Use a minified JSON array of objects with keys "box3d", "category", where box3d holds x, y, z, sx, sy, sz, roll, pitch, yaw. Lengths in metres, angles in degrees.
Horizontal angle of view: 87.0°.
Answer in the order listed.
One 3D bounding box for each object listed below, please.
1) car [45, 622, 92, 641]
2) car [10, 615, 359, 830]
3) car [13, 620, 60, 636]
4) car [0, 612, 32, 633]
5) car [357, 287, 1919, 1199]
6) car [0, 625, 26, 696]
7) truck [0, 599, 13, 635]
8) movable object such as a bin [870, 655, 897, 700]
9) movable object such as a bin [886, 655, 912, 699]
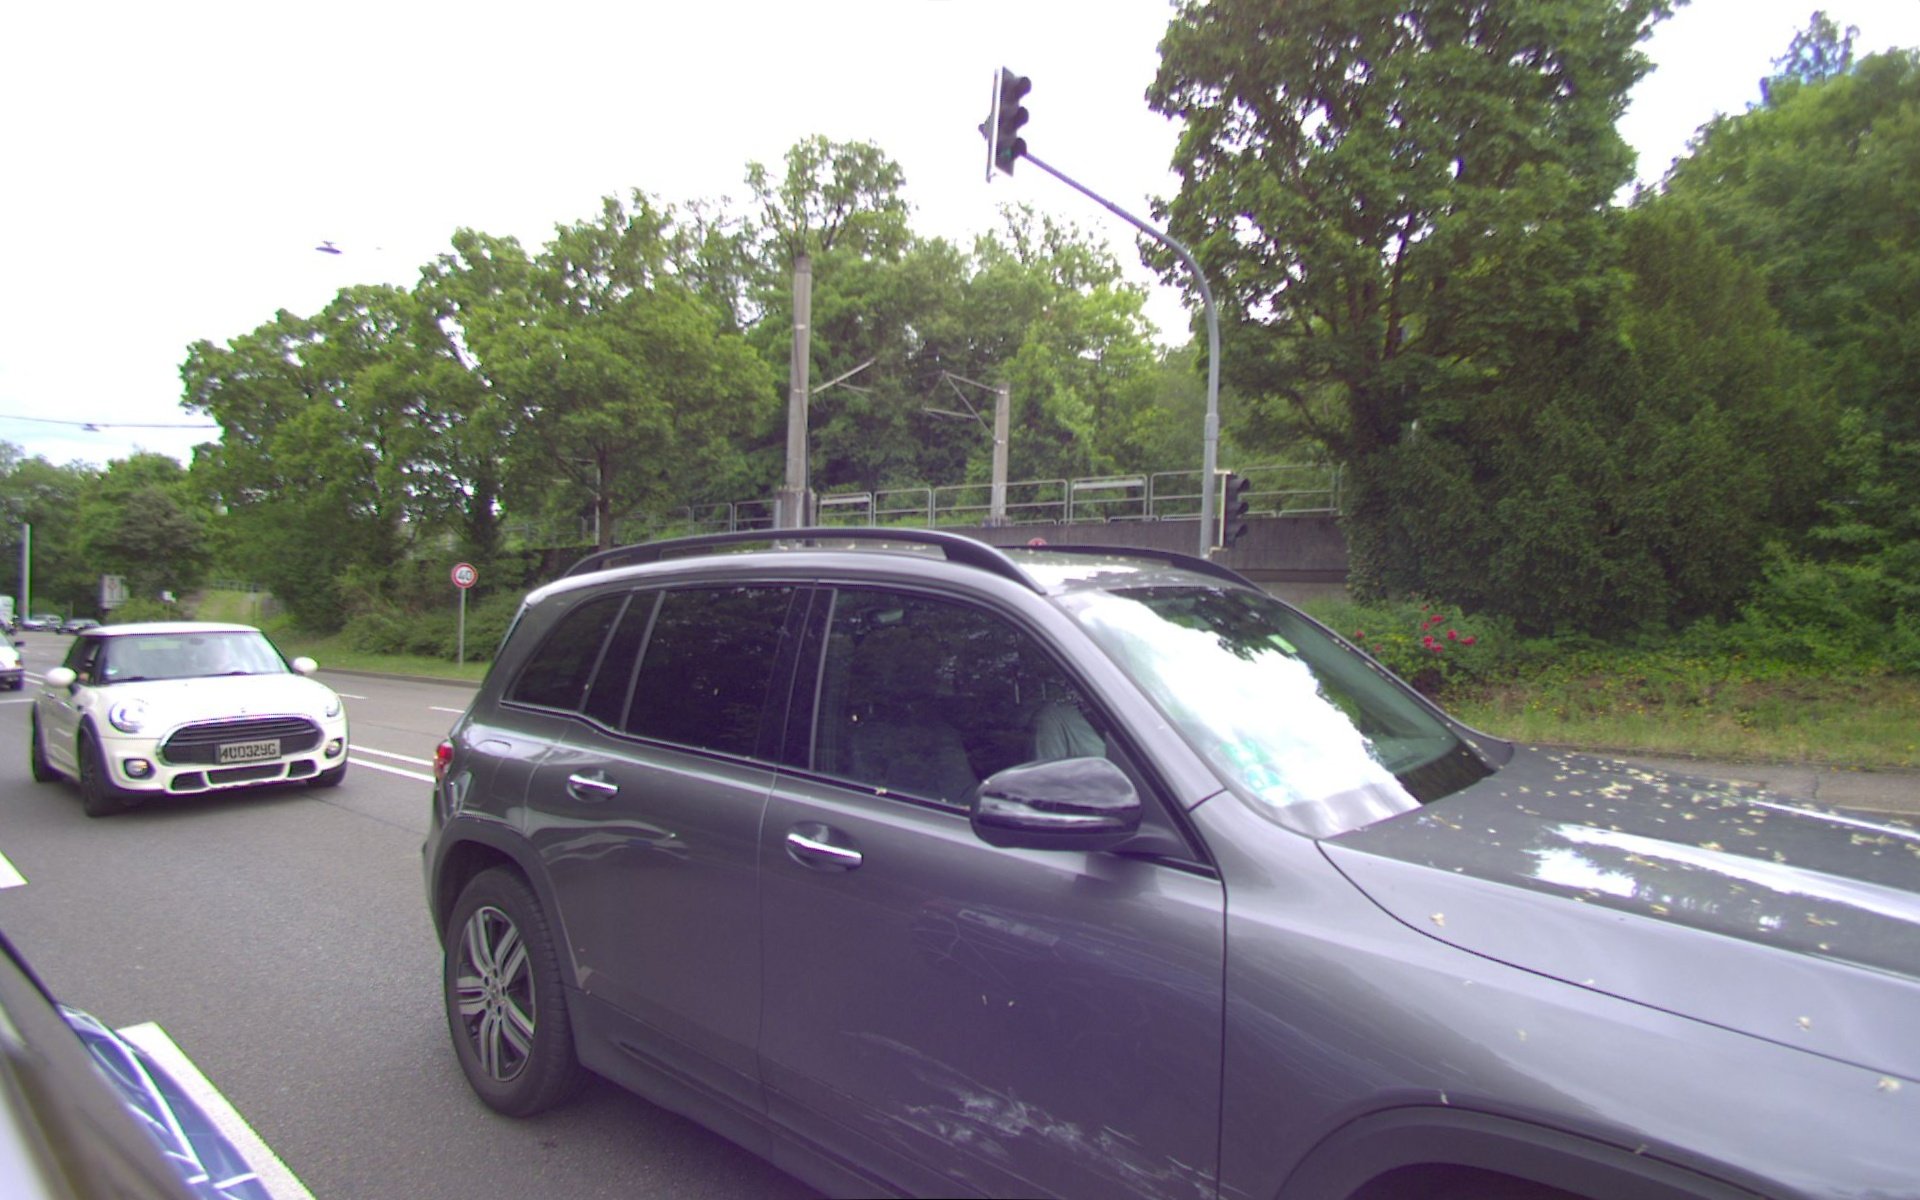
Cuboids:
[{"box3d":[-82.399,2.899,93.619,1.823,1.664,4.371,2,-3,-22],"category":"car"},{"box3d":[-6.744,0.865,8.676,3.731,1.434,1.667,-1,-1,41],"category":"car"},{"box3d":[-89.760,2.783,98.409,1.727,1.372,4.022,4,-4,-16],"category":"car"},{"box3d":[-78.900,1.832,83.704,1.823,1.664,4.371,2,-3,-24],"category":"car"},{"box3d":[0.324,0.579,2.546,4.353,1.664,1.831,-1,-1,40],"category":"car"},{"box3d":[-20.959,1.227,21.101,4.179,1.401,1.643,-1,-1,40],"category":"car"},{"box3d":[-86.807,1.409,89.039,2.164,3.180,6.670,2,-3,-17],"category":"truck"},{"box3d":[-1.870,1.885,24.741,0.503,1.071,0.414,-1,-3,36],"category":"movable object such as a bin"},{"box3d":[-1.523,1.921,25.284,0.503,1.071,0.414,-1,-3,36],"category":"movable object such as a bin"}]
